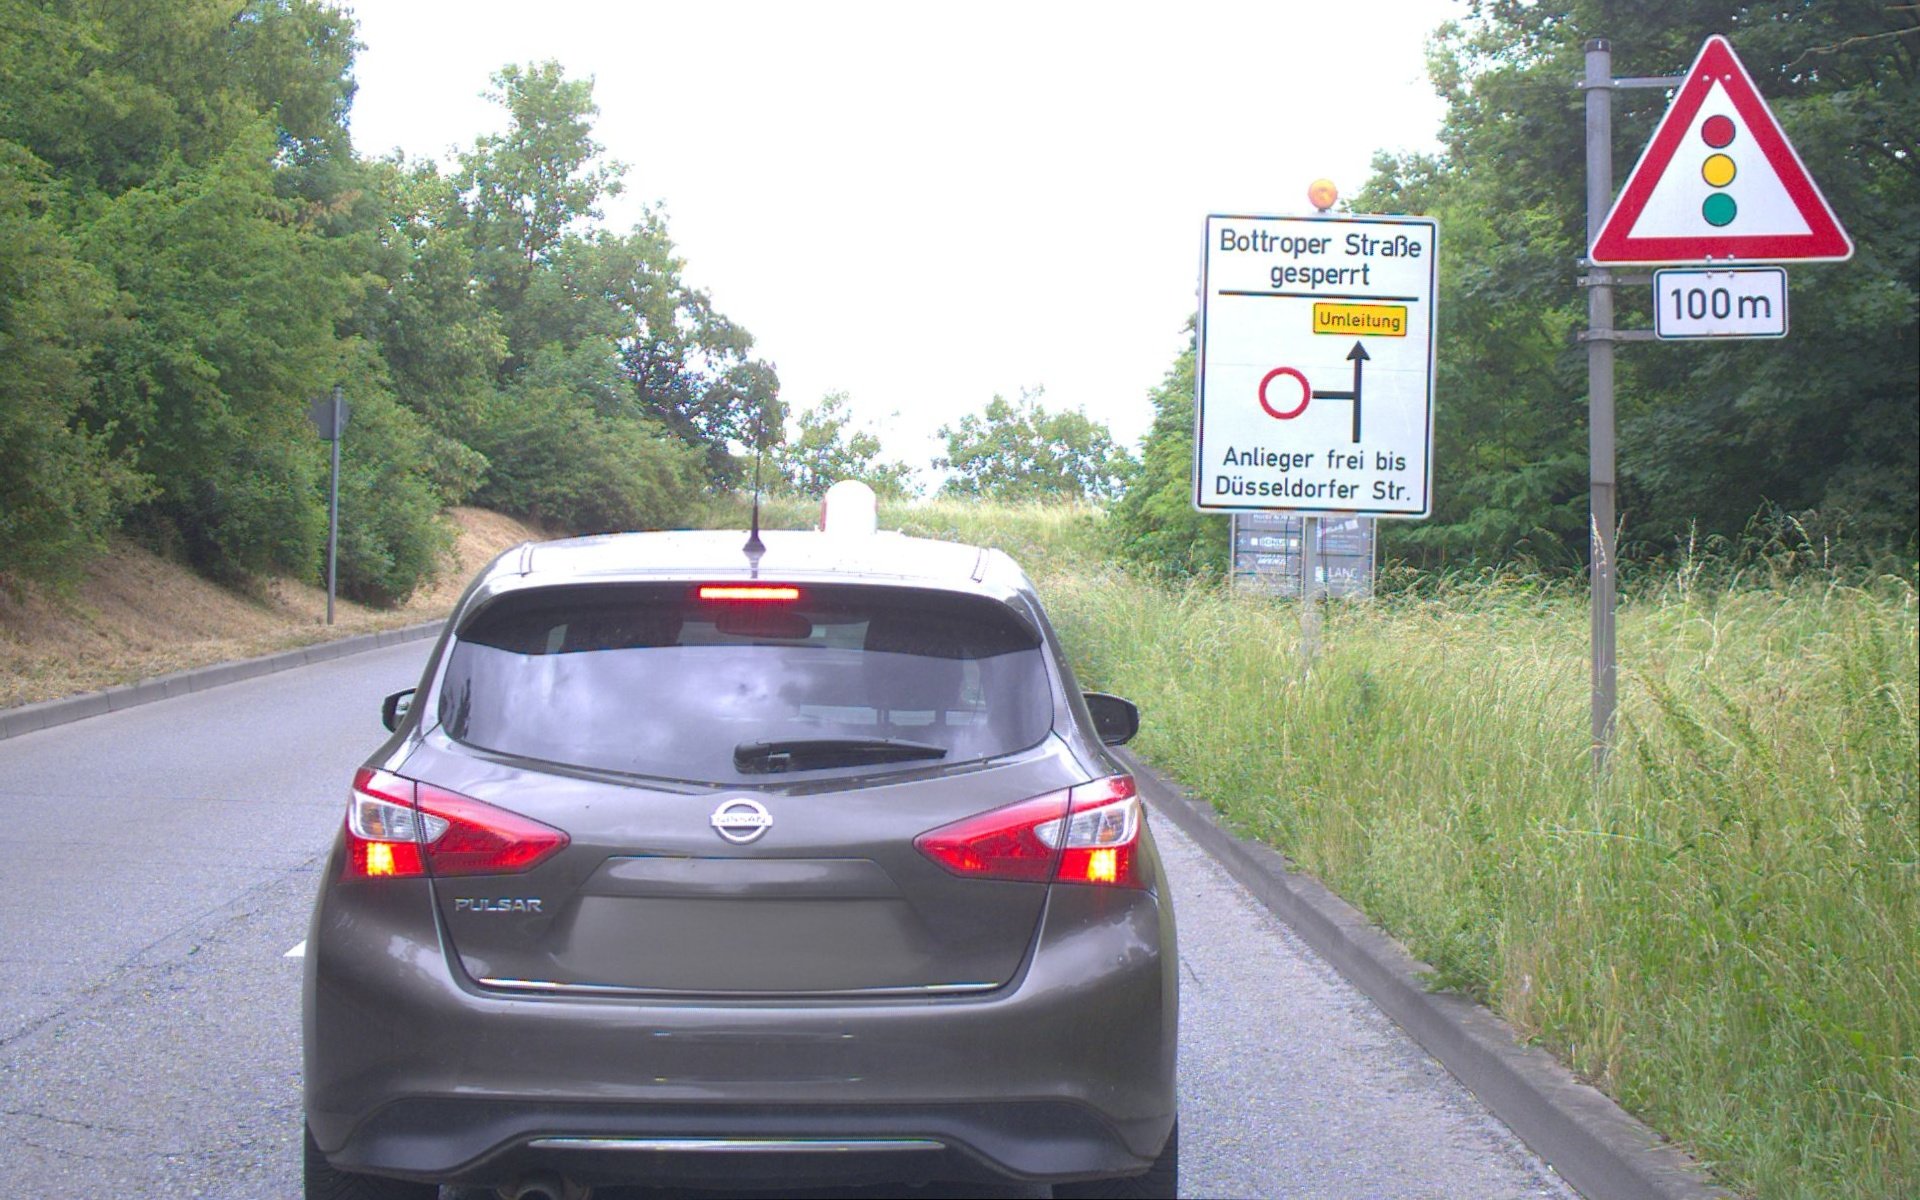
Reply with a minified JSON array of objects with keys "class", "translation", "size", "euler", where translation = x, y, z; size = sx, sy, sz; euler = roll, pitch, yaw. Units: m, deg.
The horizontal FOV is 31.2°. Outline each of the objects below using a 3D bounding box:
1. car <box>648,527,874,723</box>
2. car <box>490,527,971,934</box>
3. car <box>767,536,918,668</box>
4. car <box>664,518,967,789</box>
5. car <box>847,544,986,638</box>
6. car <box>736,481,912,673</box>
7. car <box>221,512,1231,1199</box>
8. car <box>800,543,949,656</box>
[{"class":"car","translation":[-1.624,0.161,29.084],"size":[1.736,1.551,3.544],"euler":[0,1,-1]},{"class":"car","translation":[-0.893,0.465,14.960],"size":[1.830,1.551,3.625],"euler":[0,1,-1]},{"class":"car","translation":[-1.421,-0.010,41.593],"size":[1.736,1.521,3.544],"euler":[0,1,-2]},{"class":"car","translation":[-0.847,0.275,21.535],"size":[1.736,1.551,3.544],"euler":[0,1,-1]},{"class":"car","translation":[-0.694,-0.174,57.860],"size":[1.736,1.521,3.640],"euler":[0,1,9]},{"class":"car","translation":[-1.397,-0.261,36.391],"size":[1.736,1.928,3.544],"euler":[0,1,0]},{"class":"car","translation":[-0.504,0.590,8.035],"size":[1.830,1.551,3.500],"euler":[1,1,-3]},{"class":"car","translation":[-1.174,-0.040,48.654],"size":[1.736,1.521,3.641],"euler":[0,1,4]}]
